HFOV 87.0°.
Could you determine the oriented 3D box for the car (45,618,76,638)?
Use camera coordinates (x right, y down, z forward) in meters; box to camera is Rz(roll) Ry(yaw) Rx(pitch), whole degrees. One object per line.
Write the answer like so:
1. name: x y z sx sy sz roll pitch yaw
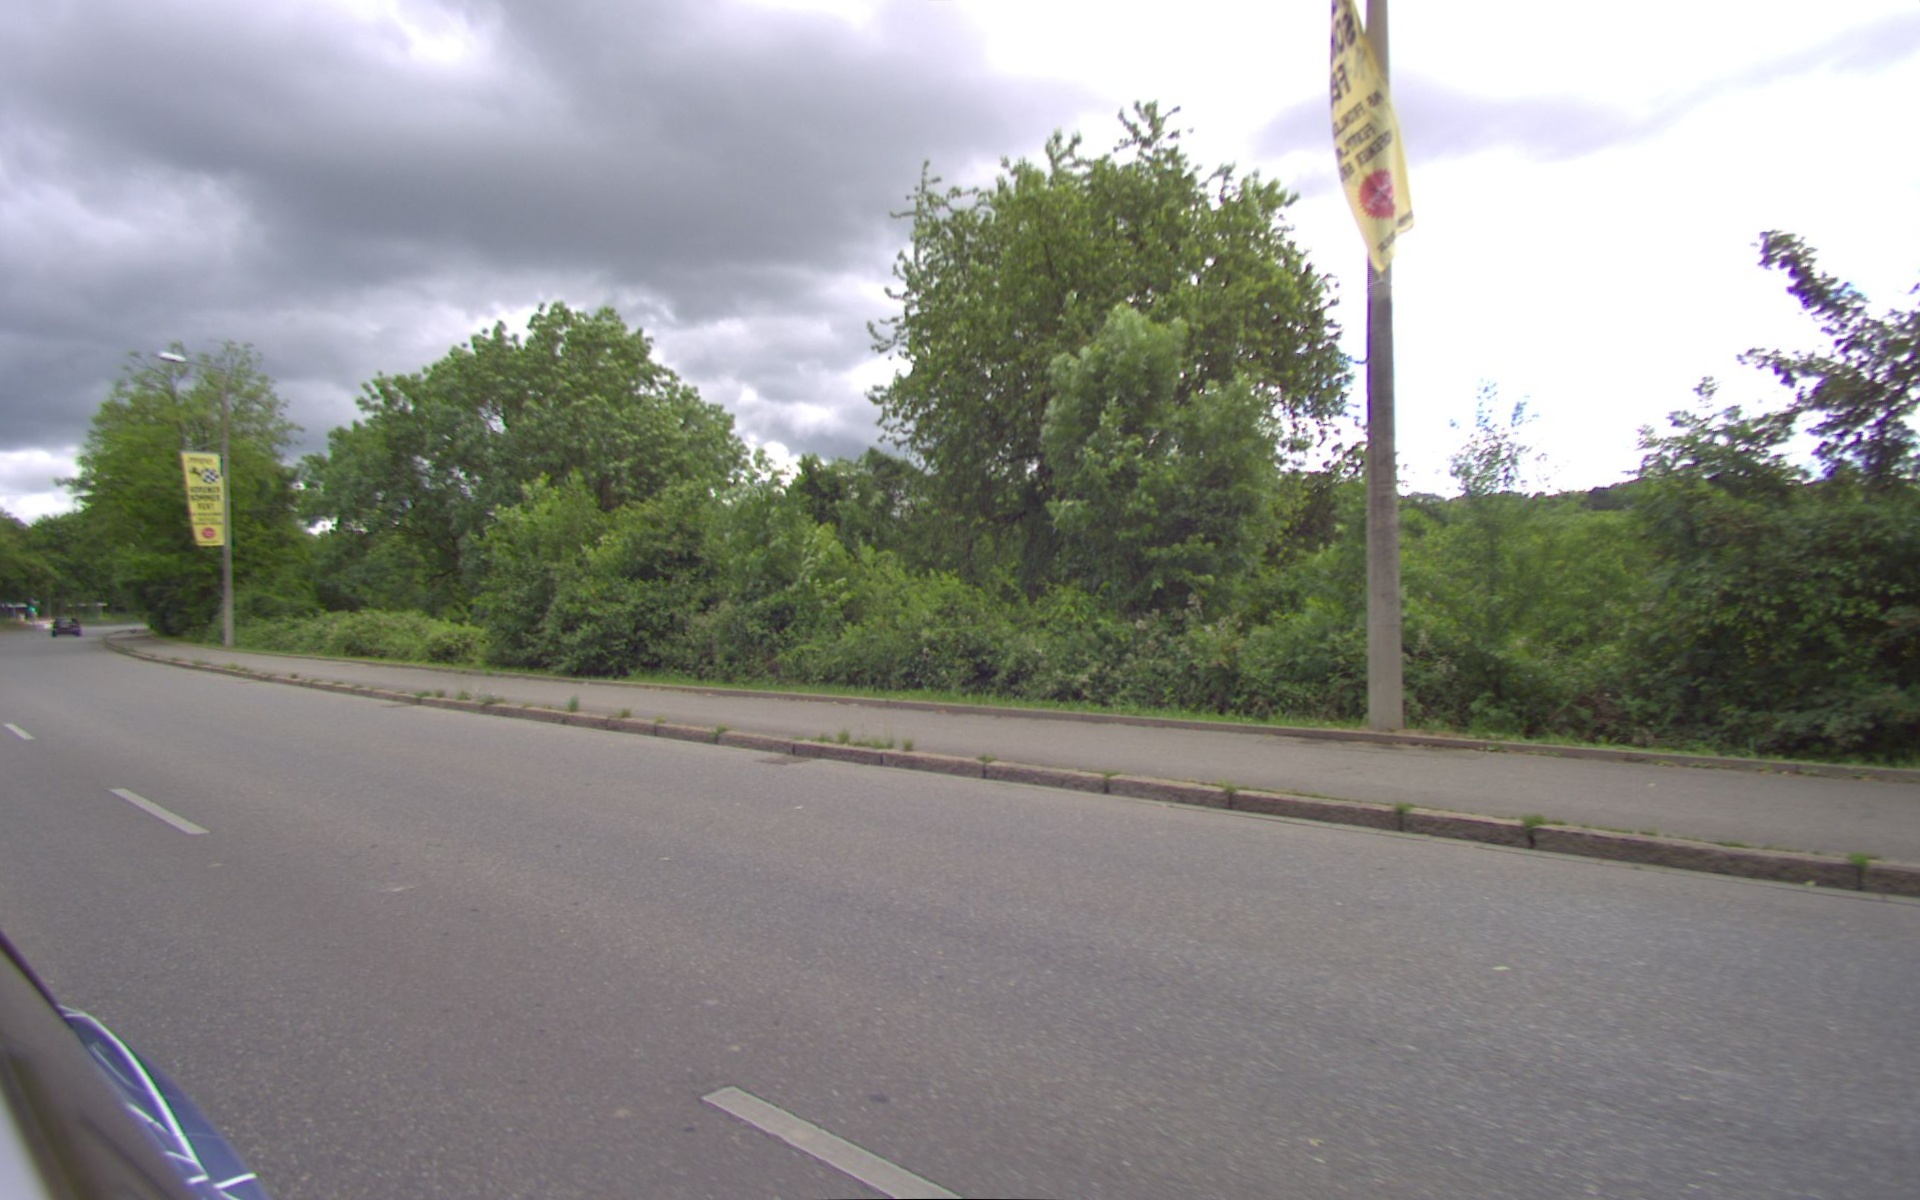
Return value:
1. car: -70.871 2.166 79.751 3.029 1.517 1.578 -1 -1 44
